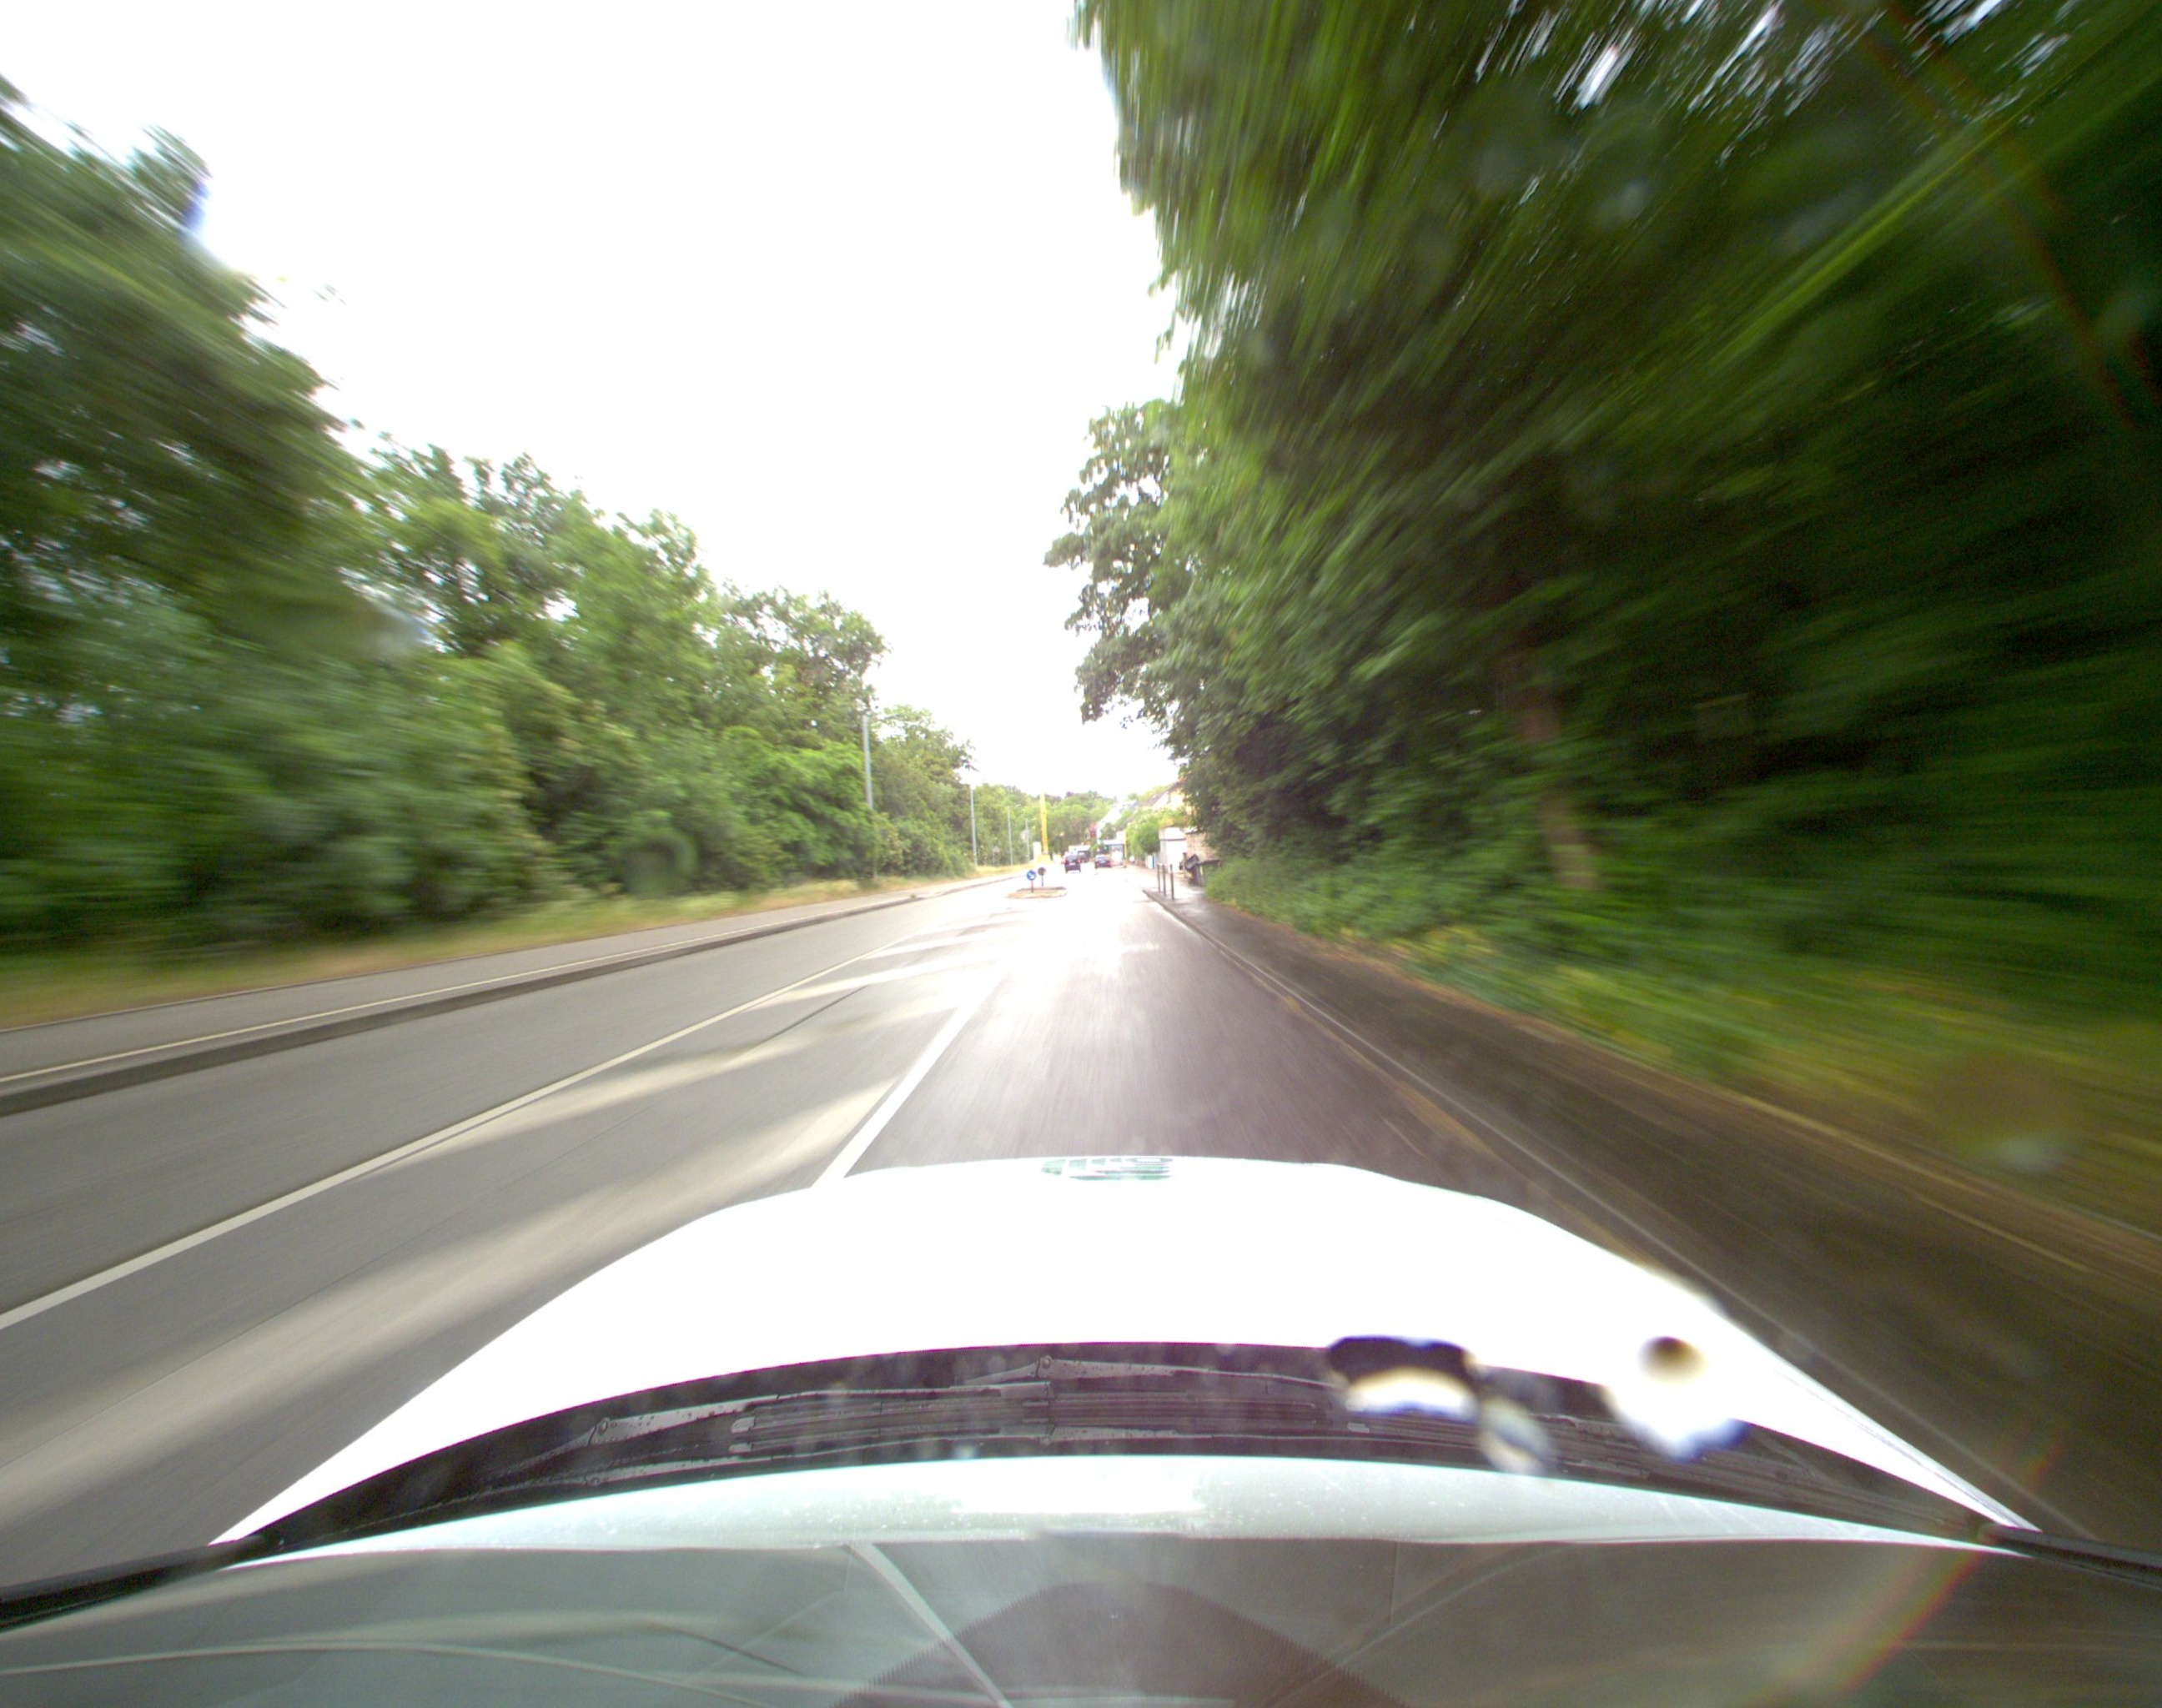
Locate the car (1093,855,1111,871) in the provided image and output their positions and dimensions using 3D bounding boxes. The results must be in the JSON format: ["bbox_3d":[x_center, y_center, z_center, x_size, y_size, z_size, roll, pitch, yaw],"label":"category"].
[{"bbox_3d":[2.398,1.026,92.986,1.986,1.772,4.115,-1,0,1],"label":"car"}]

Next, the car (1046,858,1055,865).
[{"bbox_3d":[-7.837,1.941,209.891,1.742,1.552,3.839,-2,0,-13],"label":"car"}]

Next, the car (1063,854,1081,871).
[{"bbox_3d":[-0.907,0.876,82.937,1.661,1.594,3.684,-2,0,1],"label":"car"}]

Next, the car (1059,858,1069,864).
[{"bbox_3d":[-4.175,1.714,198.399,1.742,1.552,3.839,-2,0,-13],"label":"car"}]

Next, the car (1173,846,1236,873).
[{"bbox_3d":[7.852,0.344,51.954,3.758,1.552,1.608,-2,0,-1],"label":"car"}]

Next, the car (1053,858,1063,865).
[{"bbox_3d":[-5.684,1.860,203.664,1.741,1.552,3.839,-1,-1,-13],"label":"car"}]
